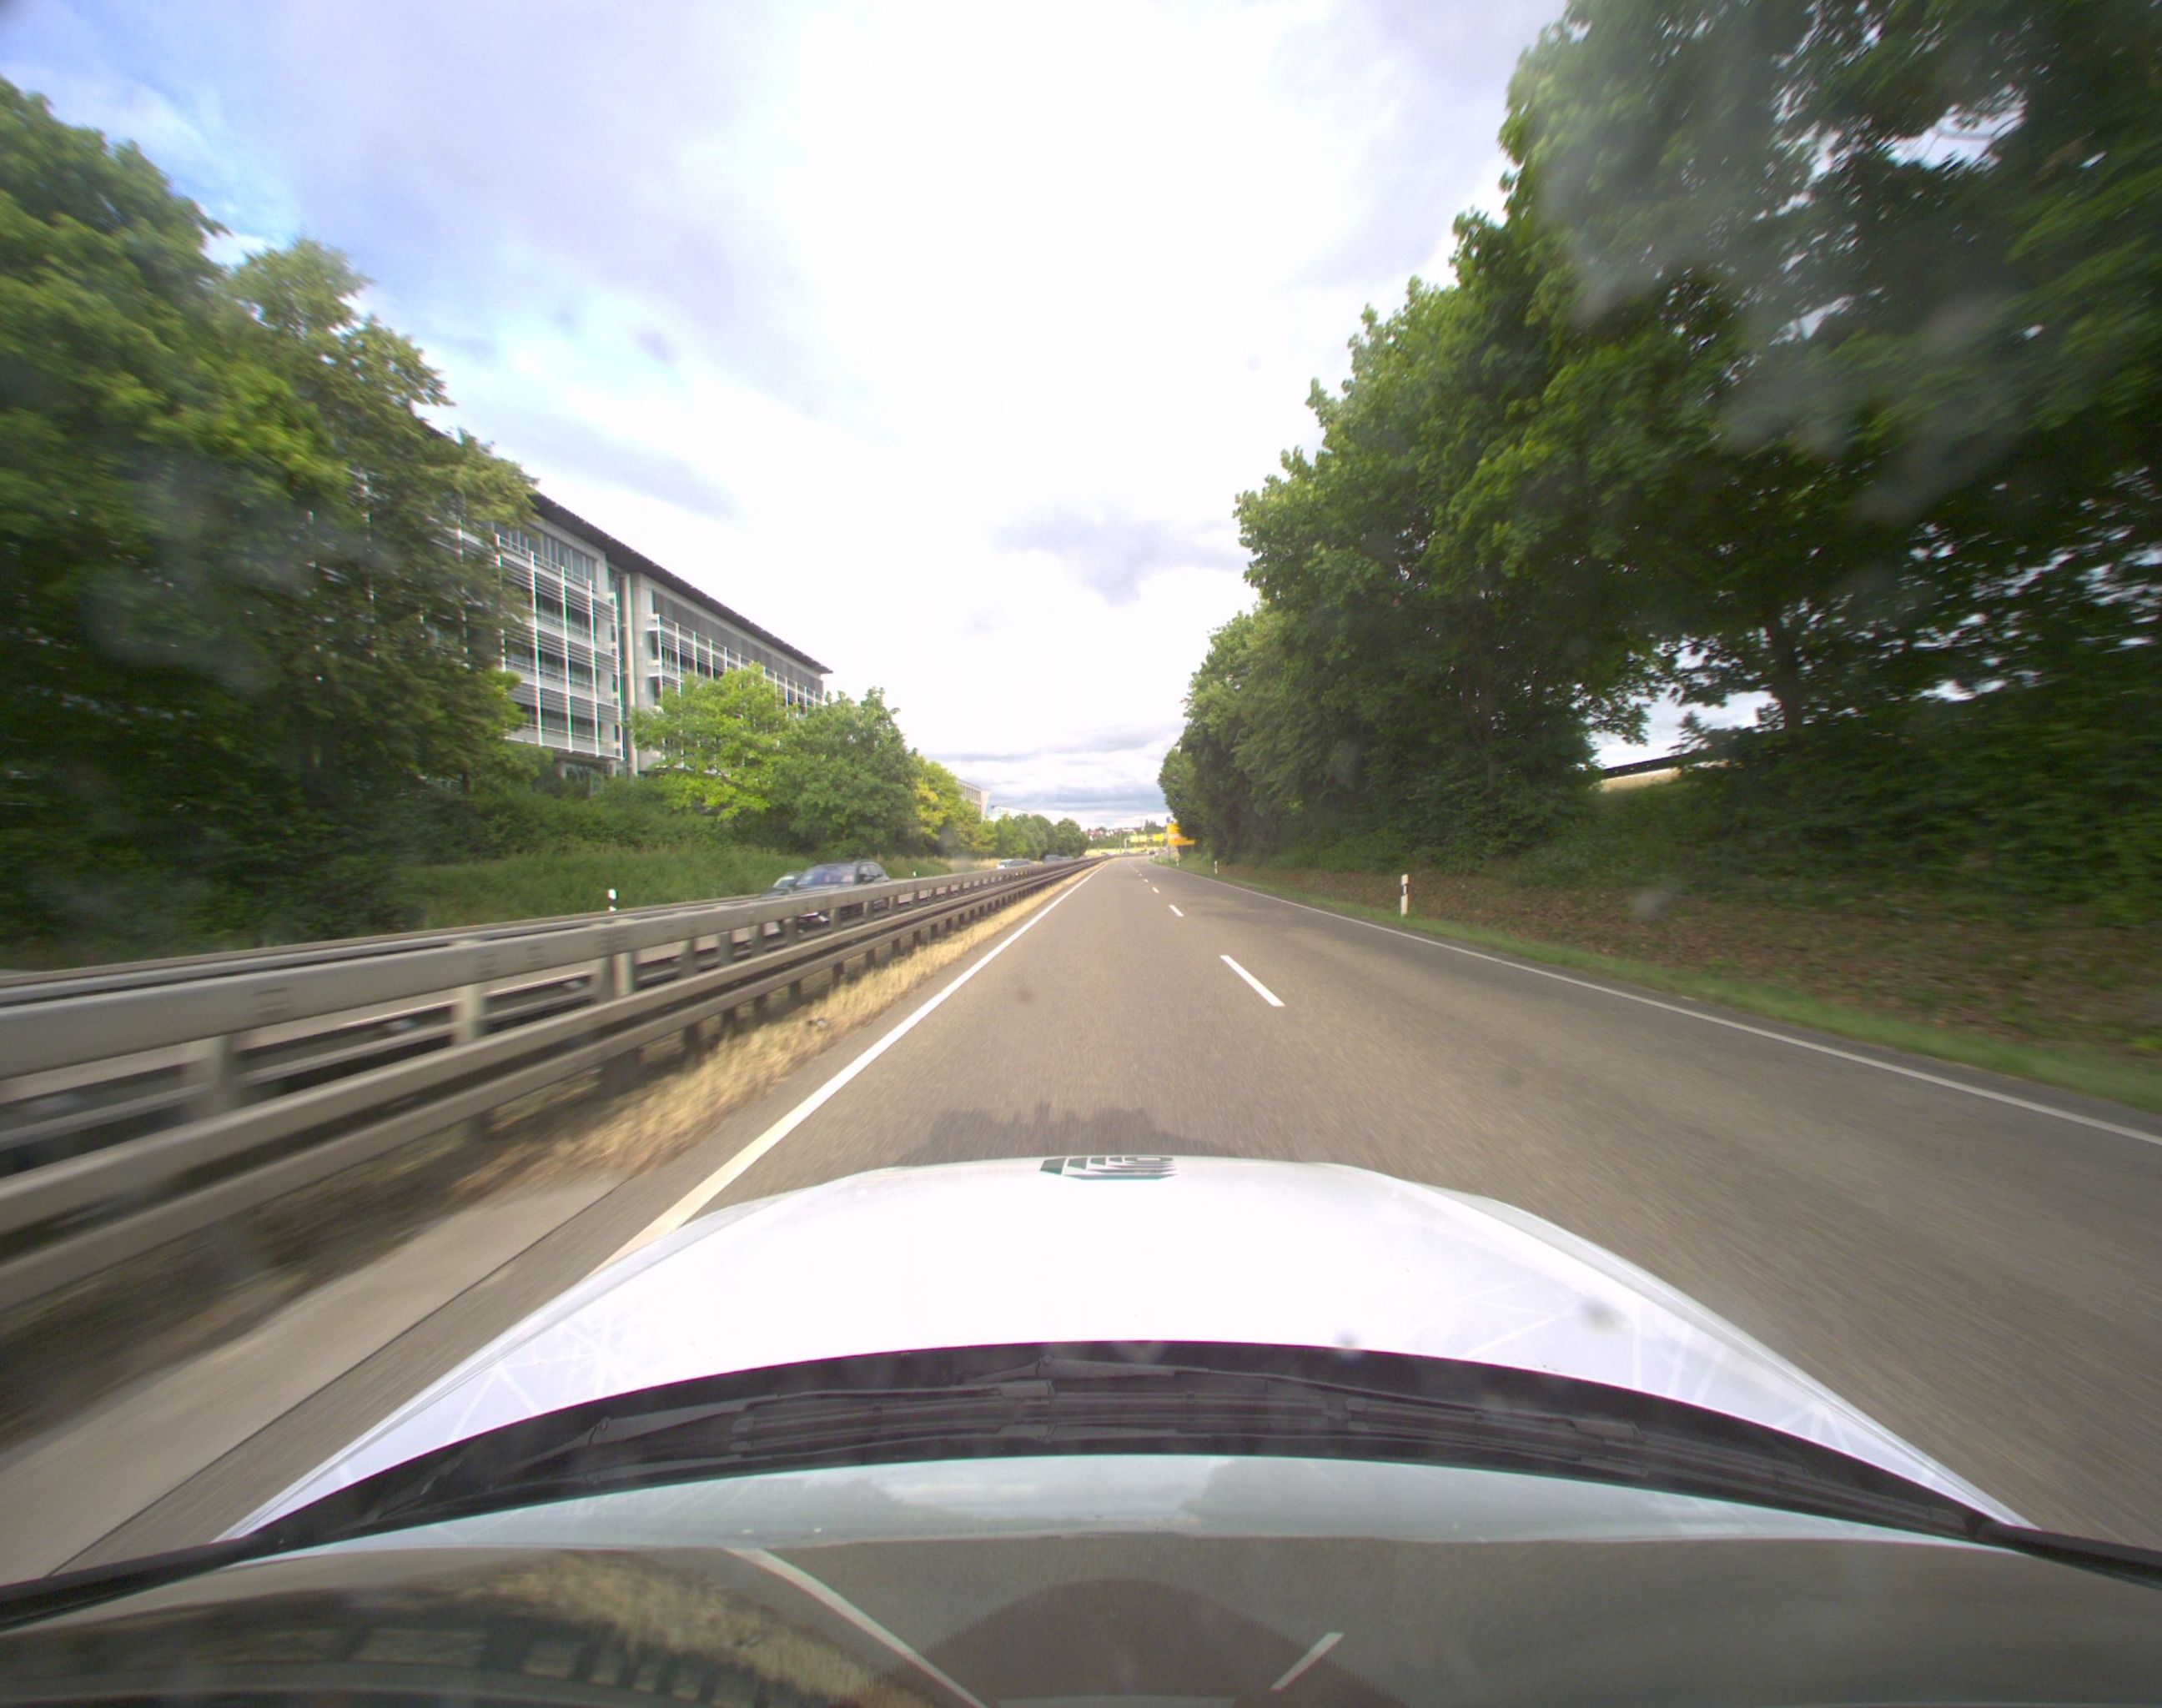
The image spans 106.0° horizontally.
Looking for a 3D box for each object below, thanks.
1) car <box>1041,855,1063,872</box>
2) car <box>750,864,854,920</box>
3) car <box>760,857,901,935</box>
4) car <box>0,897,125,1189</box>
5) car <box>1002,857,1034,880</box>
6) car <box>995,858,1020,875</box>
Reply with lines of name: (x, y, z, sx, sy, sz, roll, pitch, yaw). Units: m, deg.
car: (-2.984, 0.918, 84.865, 1.736, 1.645, 5.283, -3, 0, 3)
car: (-9.008, 1.164, 26.703, 1.736, 1.589, 4.313, -2, 0, 2)
car: (-5.866, 0.922, 19.666, 1.813, 1.584, 4.319, -2, 0, 3)
car: (-6.017, 0.939, 2.439, 1.669, 1.352, 3.833, -2, 0, 2)
car: (-4.274, 0.975, 55.718, 1.585, 1.447, 4.002, -3, 0, 2)
car: (-7.012, 1.175, 77.961, 1.810, 1.485, 4.419, -1, 0, 2)
